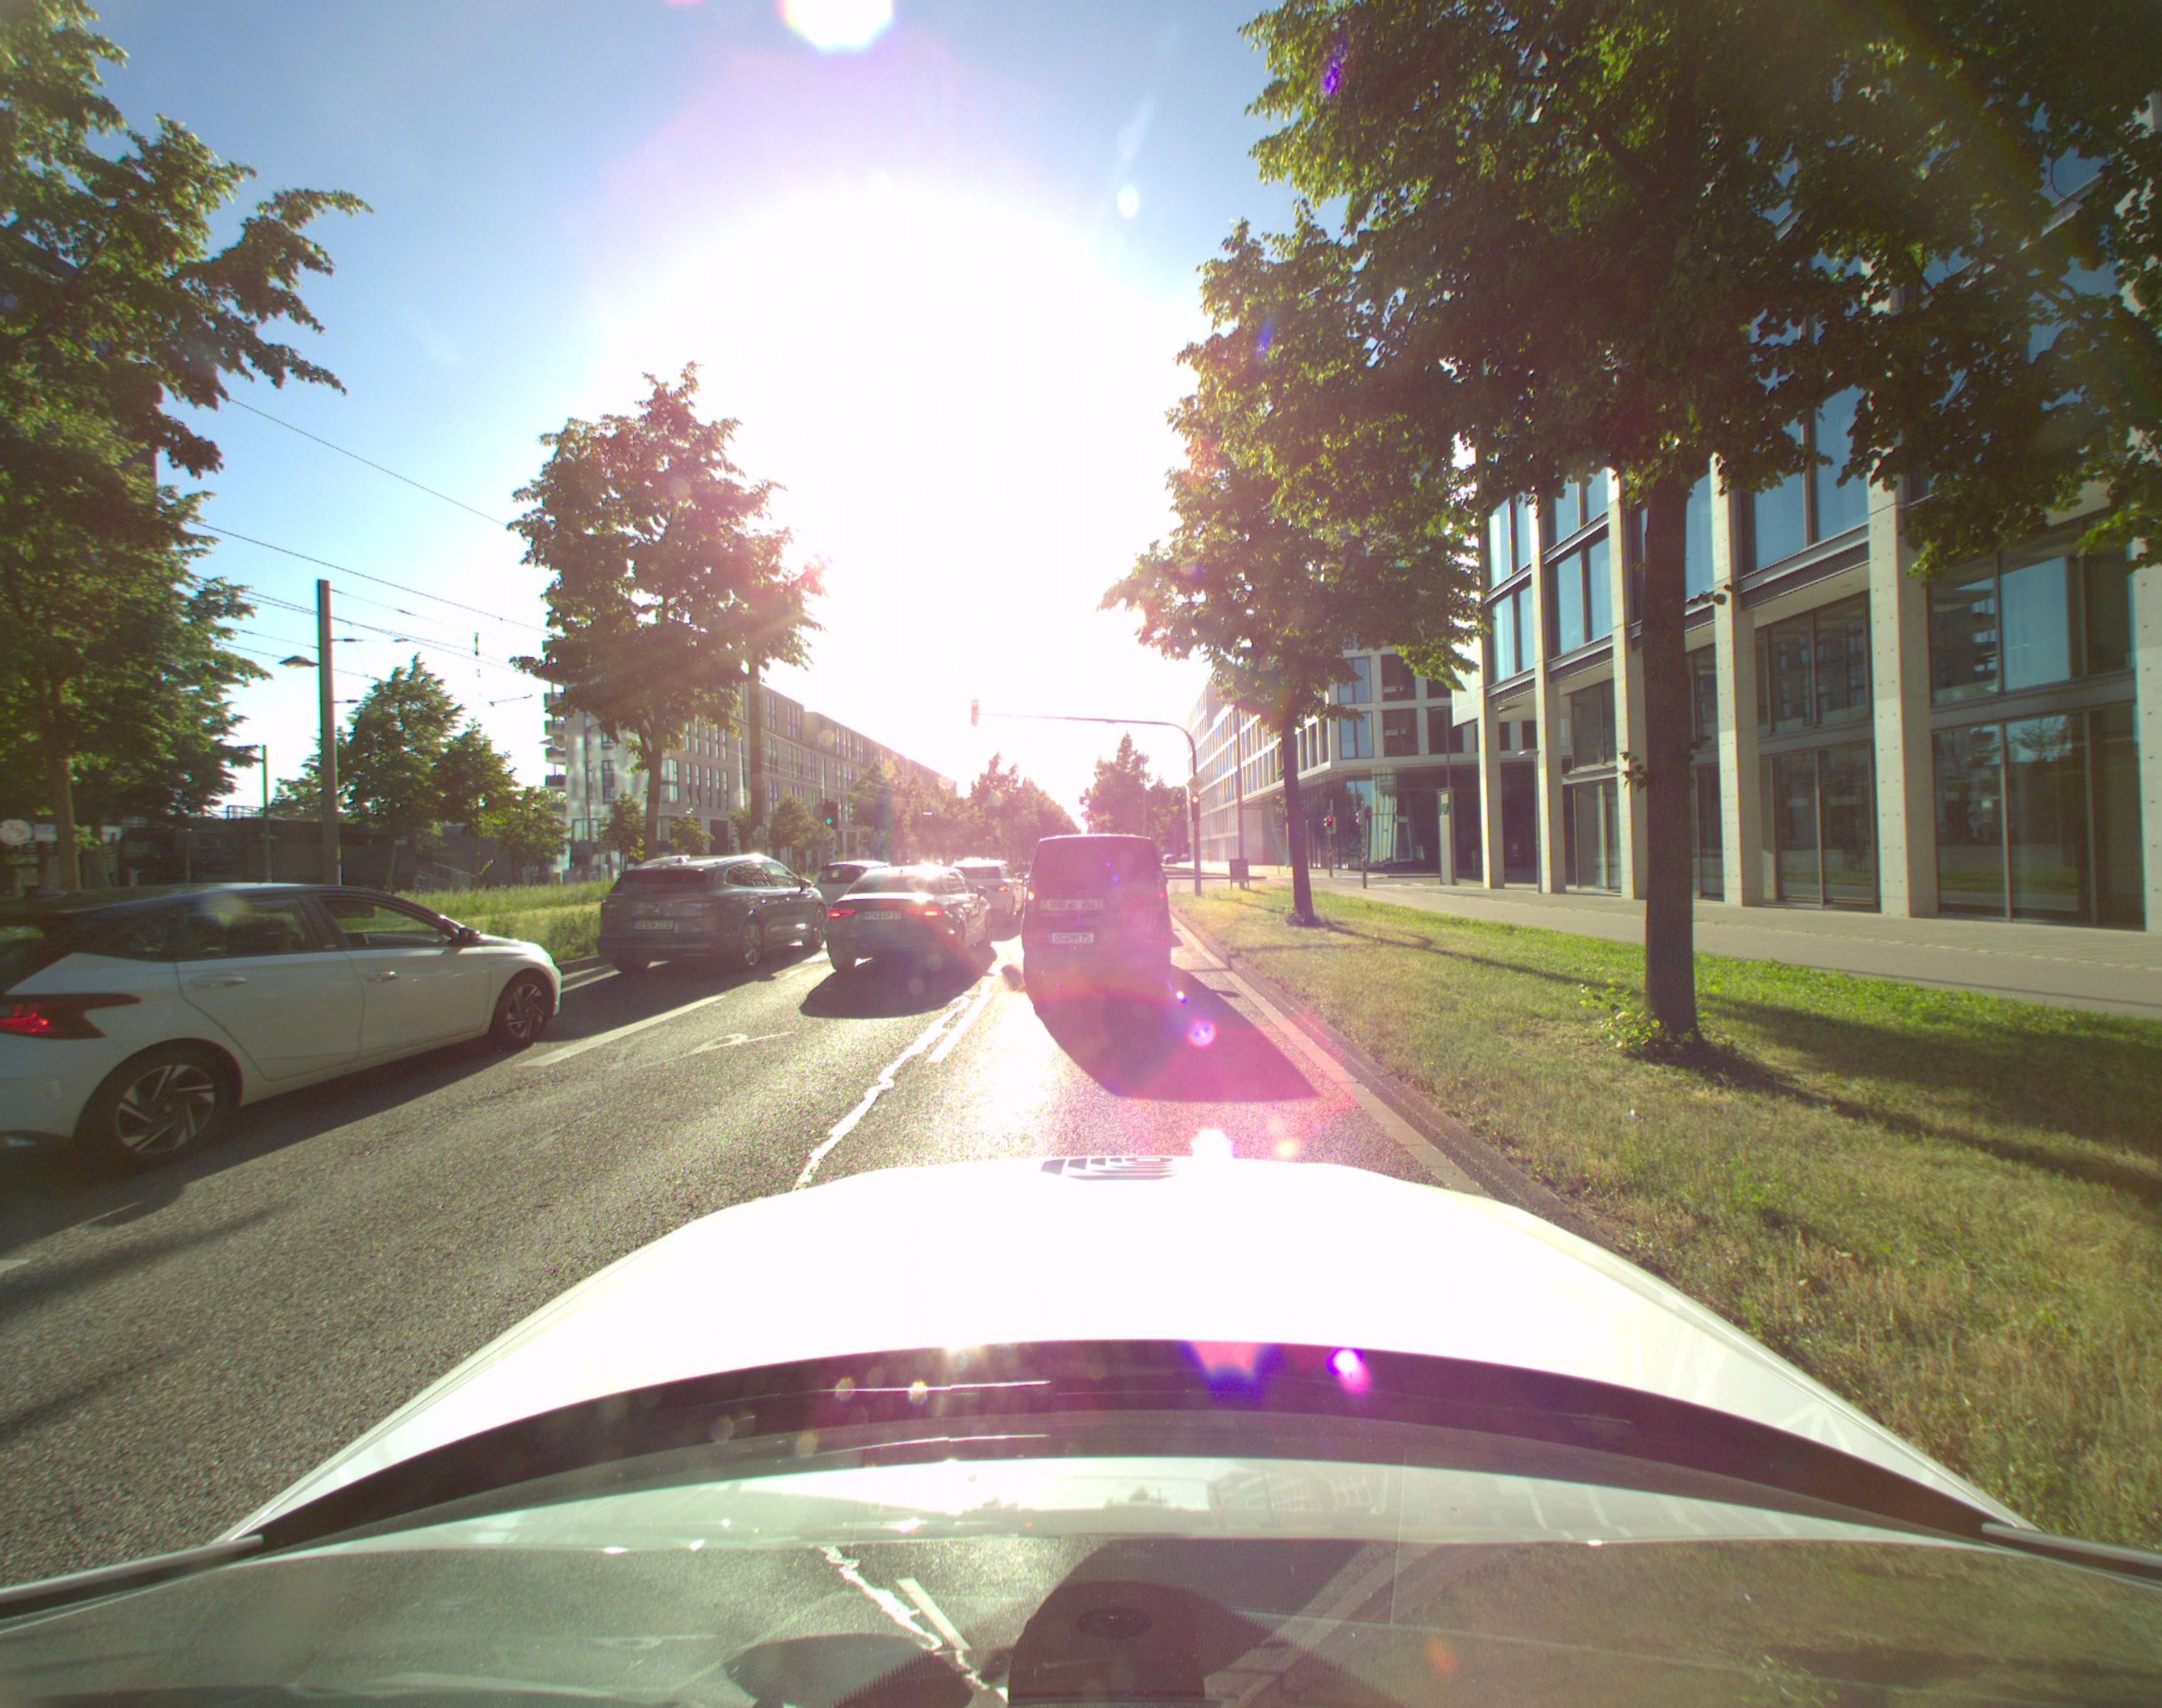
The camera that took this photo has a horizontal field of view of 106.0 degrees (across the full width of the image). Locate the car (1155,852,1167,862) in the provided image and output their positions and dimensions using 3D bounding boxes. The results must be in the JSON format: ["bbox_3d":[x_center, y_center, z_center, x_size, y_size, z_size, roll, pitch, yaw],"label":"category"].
[{"bbox_3d":[15.922,0.582,162.120,1.986,1.782,4.001,-2,0,2],"label":"car"}]

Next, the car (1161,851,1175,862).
[{"bbox_3d":[14.406,0.407,134.436,1.986,1.782,4.001,-2,0,2],"label":"car"}]

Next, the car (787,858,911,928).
[{"bbox_3d":[-5.580,0.870,20.240,1.794,1.483,4.566,2,0,-1],"label":"car"}]

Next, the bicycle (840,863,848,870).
[{"bbox_3d":[-36.220,1.886,124.430,0.674,0.988,1.957,-2,0,2],"label":"bicycle"}]

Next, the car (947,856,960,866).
[{"bbox_3d":[-28.952,1.577,184.979,1.986,2.013,4.002,-2,0,2],"label":"car"}]

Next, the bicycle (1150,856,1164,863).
[{"bbox_3d":[14.228,1.024,152.348,2.611,1.106,0.957,-2,0,36],"label":"bicycle"}]

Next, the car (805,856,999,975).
[{"bbox_3d":[-2.463,0.781,12.376,1.835,1.426,4.340,-1,0,2],"label":"car"}]

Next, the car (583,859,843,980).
[{"bbox_3d":[-5.267,0.846,12.447,1.793,1.447,4.569,-2,-1,1],"label":"car"}]

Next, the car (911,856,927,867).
[{"bbox_3d":[-30.141,1.374,151.898,1.986,2.013,4.002,-2,0,2],"label":"car"}]

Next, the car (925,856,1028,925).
[{"bbox_3d":[-2.365,0.788,19.387,1.797,1.426,3.902,-1,0,2],"label":"car"}]

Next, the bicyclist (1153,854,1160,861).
[{"bbox_3d":[14.180,0.654,152.385,0.974,1.436,0.957,-2,0,36],"label":"bicyclist"}]

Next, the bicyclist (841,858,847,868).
[{"bbox_3d":[-36.230,1.426,124.544,0.674,1.529,0.714,-2,0,1],"label":"bicyclist"}]

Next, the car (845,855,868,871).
[{"bbox_3d":[-30.894,1.219,112.209,1.986,2.013,4.002,-2,0,2],"label":"car"}]

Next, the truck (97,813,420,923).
[{"bbox_3d":[-33.603,0.505,34.260,2.880,3.853,10.217,-2,0,2],"label":"truck"}]

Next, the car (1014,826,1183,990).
[{"bbox_3d":[0.255,0.597,11.048,1.835,1.780,4.002,-1,0,2],"label":"car"}]

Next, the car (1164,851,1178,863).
[{"bbox_3d":[14.303,0.509,129.507,1.986,1.782,4.001,-2,0,2],"label":"car"}]

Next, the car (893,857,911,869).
[{"bbox_3d":[-30.612,1.515,139.070,1.986,2.013,4.002,-2,0,2],"label":"car"}]

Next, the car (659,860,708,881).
[{"bbox_3d":[-31.030,1.250,63.688,1.758,1.520,4.002,-2,0,2],"label":"car"}]

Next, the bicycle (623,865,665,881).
[{"bbox_3d":[-35.852,1.574,66.834,2.931,1.190,0.818,-2,0,1],"label":"bicycle"}]

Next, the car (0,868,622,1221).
[{"bbox_3d":[-5.515,0.889,5.756,1.792,1.447,4.571,-2,0,2],"label":"car"}]

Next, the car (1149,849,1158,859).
[{"bbox_3d":[17.823,-0.020,199.823,1.986,2.497,4.988,-2,0,2],"label":"car"}]

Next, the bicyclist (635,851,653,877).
[{"bbox_3d":[-35.881,0.788,66.849,0.936,2.092,0.818,-2,0,1],"label":"bicyclist"}]
